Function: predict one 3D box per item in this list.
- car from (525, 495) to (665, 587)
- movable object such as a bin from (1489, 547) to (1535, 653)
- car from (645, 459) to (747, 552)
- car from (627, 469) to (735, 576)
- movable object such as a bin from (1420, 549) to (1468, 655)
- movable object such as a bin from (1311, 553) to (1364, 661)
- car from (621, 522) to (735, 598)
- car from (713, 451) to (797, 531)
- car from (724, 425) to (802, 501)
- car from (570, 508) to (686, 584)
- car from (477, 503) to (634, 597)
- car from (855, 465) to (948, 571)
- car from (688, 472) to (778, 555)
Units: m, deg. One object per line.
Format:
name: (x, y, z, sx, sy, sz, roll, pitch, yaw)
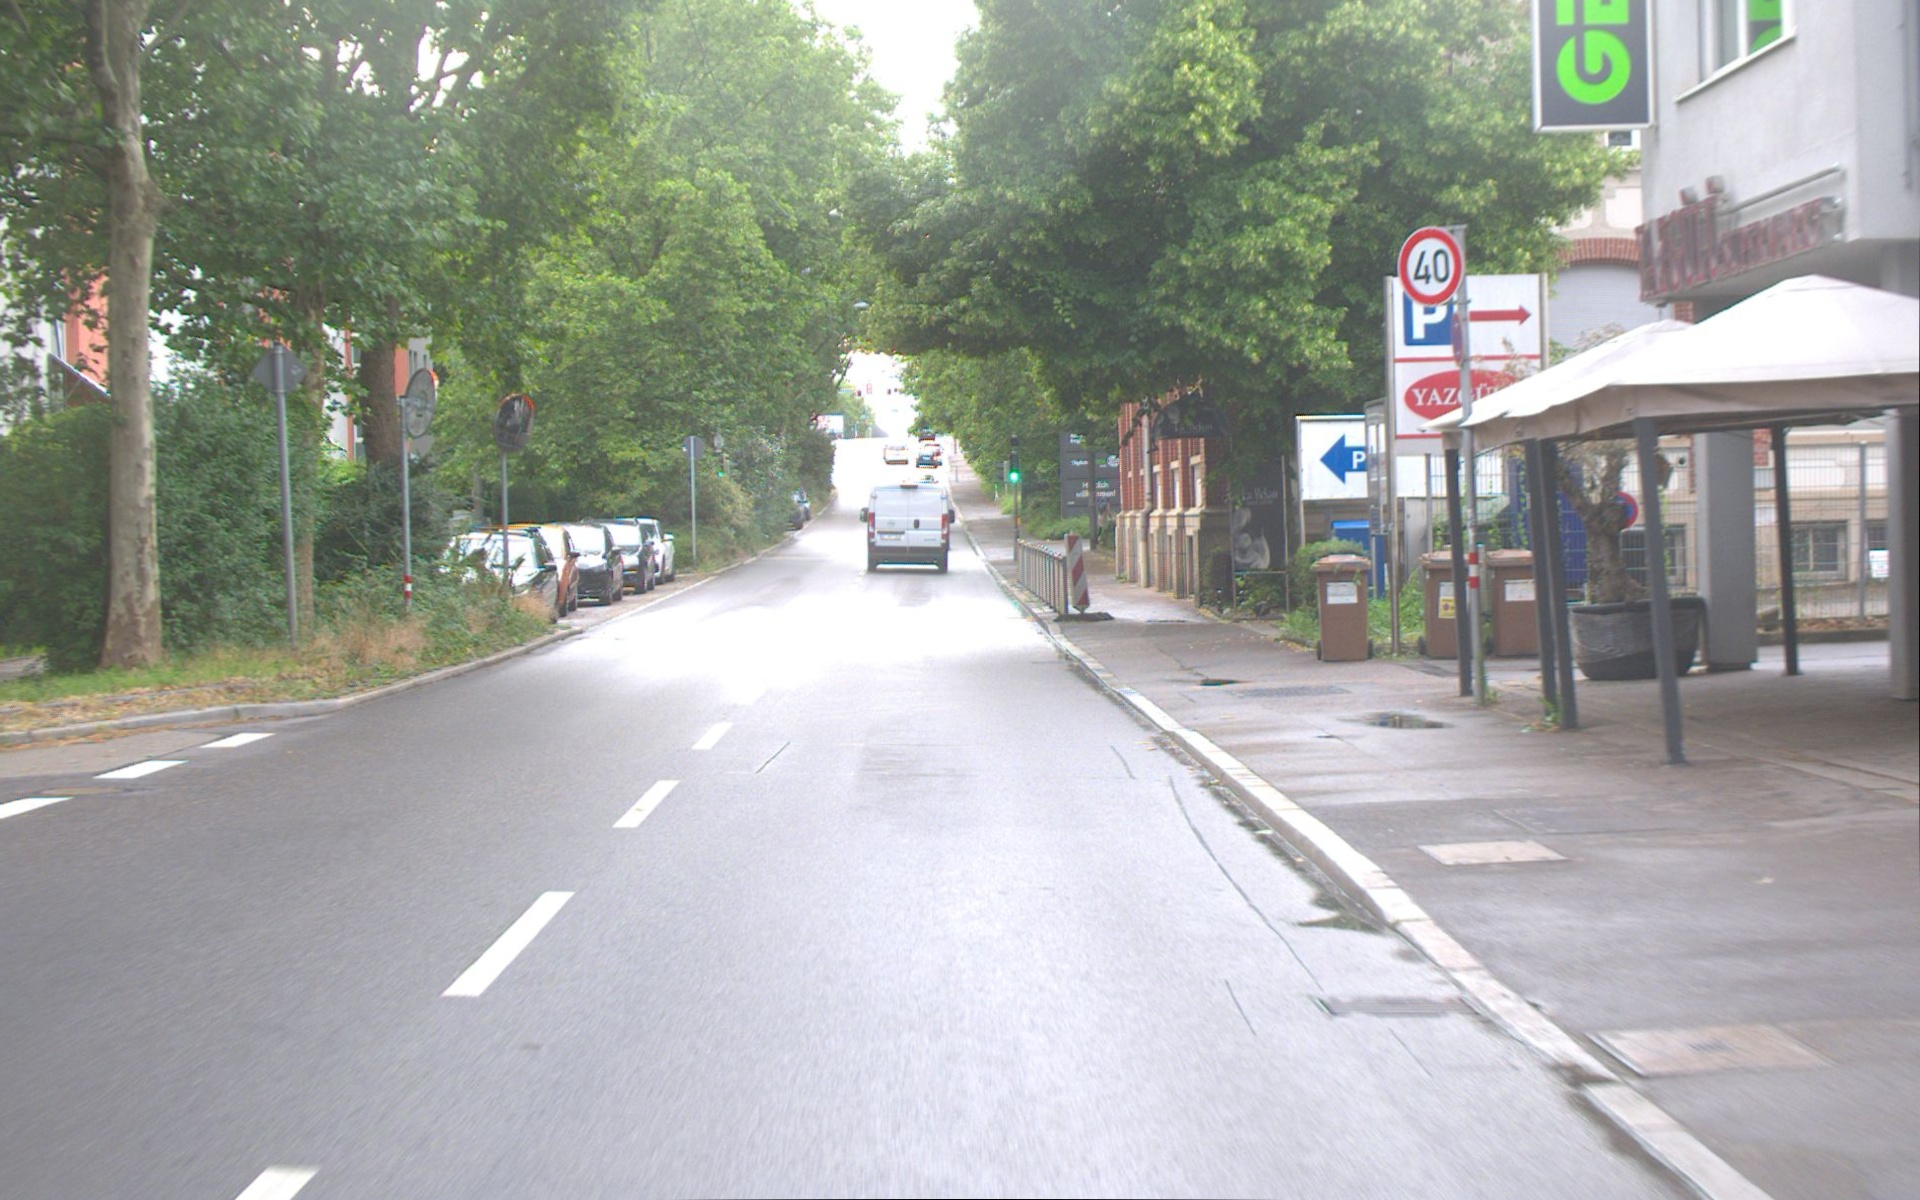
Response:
car: (-7.391, -1.169, 70.027, 2.215, 1.723, 4.609, 1, -1, 2)
movable object such as a bin: (5.571, 0.002, 34.708, 0.356, 1.063, 0.358, 1, -1, -6)
car: (-7.067, -2.523, 92.482, 2.215, 2.286, 4.609, 1, -1, 2)
car: (-7.074, -1.943, 87.624, 2.215, 2.525, 4.609, 1, -1, 2)
movable object such as a bin: (4.881, 0.018, 34.684, 0.399, 1.063, 0.358, 0, -1, -6)
movable object such as a bin: (3.809, 0.073, 34.700, 0.399, 1.063, 0.358, -4, 0, -6)
car: (-6.749, -0.943, 82.624, 2.215, 1.685, 4.609, 1, -1, 2)
car: (-6.484, -3.430, 109.010, 2.215, 2.286, 4.609, 1, -1, 2)
car: (-6.671, -4.628, 116.697, 2.215, 2.286, 4.609, 1, -1, 2)
car: (-7.348, -1.169, 76.458, 1.995, 1.538, 4.609, 1, -1, 2)
car: (-7.451, -0.903, 63.731, 2.215, 1.587, 4.609, 1, -1, 2)
car: (-1.463, -2.052, 87.364, 2.282, 2.544, 4.000, 0, -1, 0)
car: (-6.768, -2.560, 102.967, 2.215, 2.286, 4.609, 1, -1, 2)
